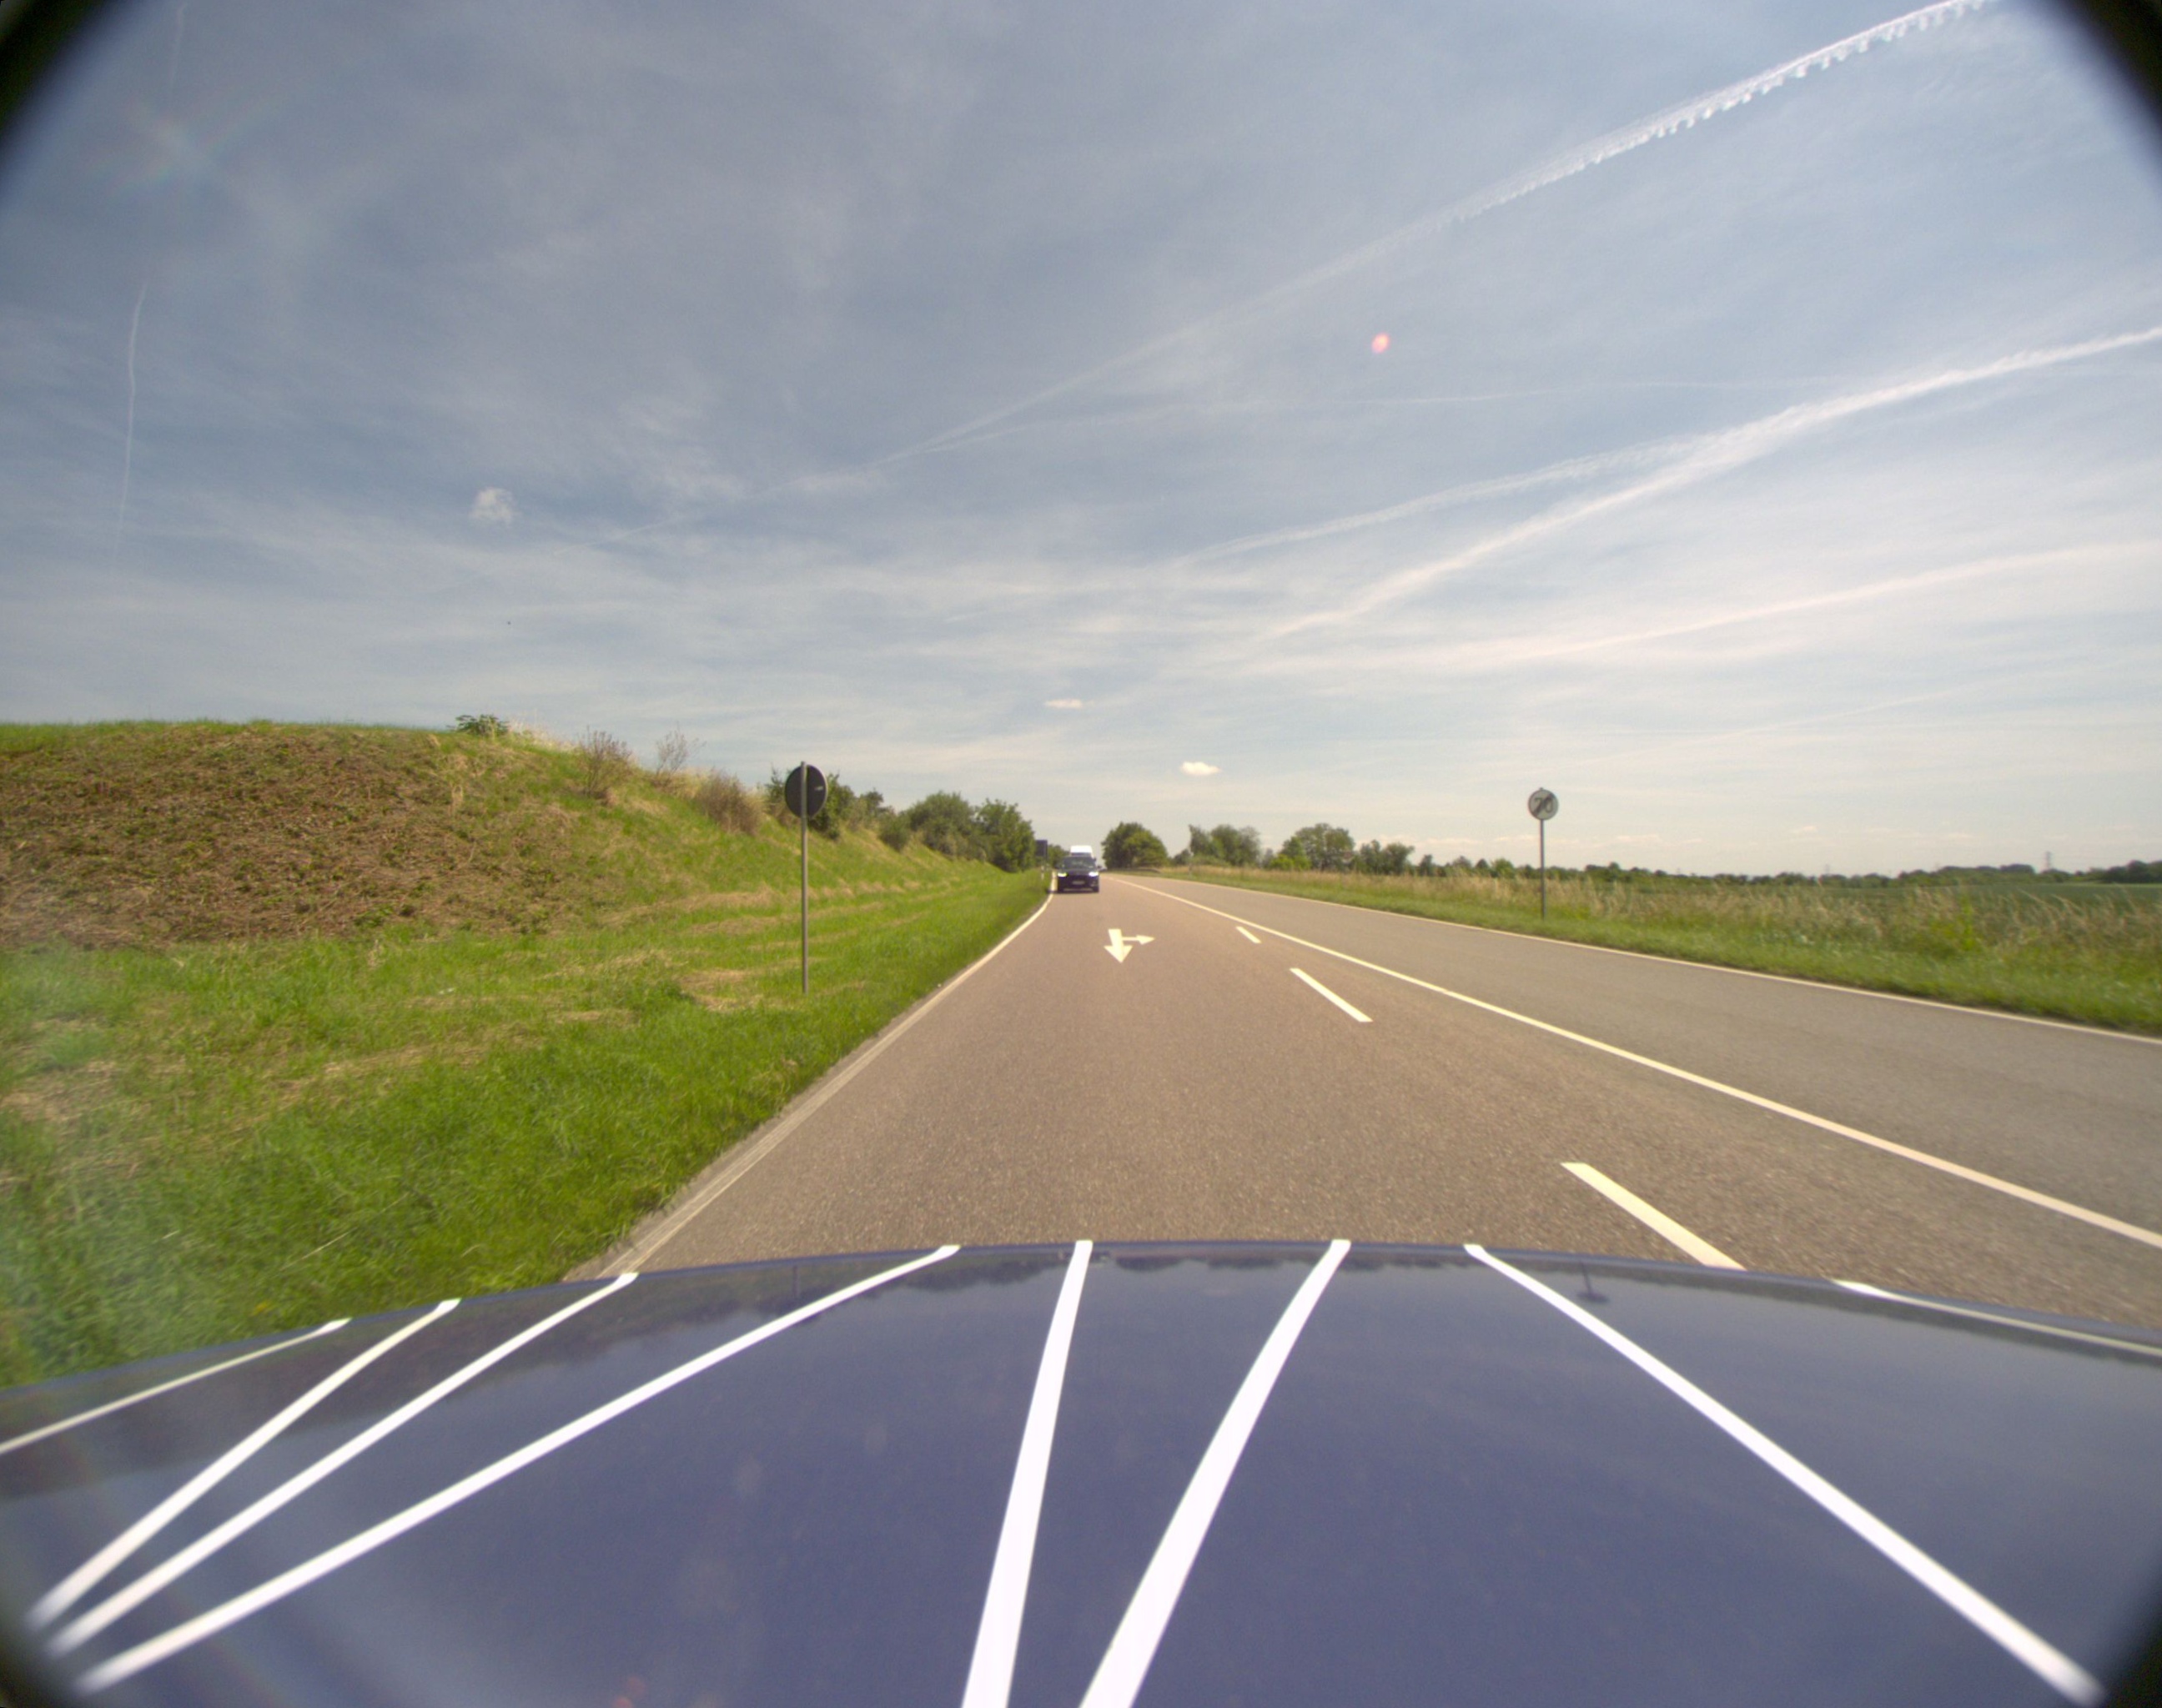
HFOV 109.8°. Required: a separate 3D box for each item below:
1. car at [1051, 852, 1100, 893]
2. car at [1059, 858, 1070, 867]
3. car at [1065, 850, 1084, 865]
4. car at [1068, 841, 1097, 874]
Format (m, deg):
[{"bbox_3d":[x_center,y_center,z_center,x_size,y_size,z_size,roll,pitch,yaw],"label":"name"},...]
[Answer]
[{"bbox_3d":[-0.215,0.799,35.238,2.039,1.691,5.513,-2,0,0],"label":"car"},{"bbox_3d":[-3.192,1.607,147.141,2.039,1.641,4.743,1,0,-3],"label":"car"},{"bbox_3d":[-0.732,0.368,85.620,2.039,1.641,4.743,0,1,-1],"label":"car"},{"bbox_3d":[0.083,0.273,62.899,2.226,2.617,5.752,1,0,0],"label":"car"}]
